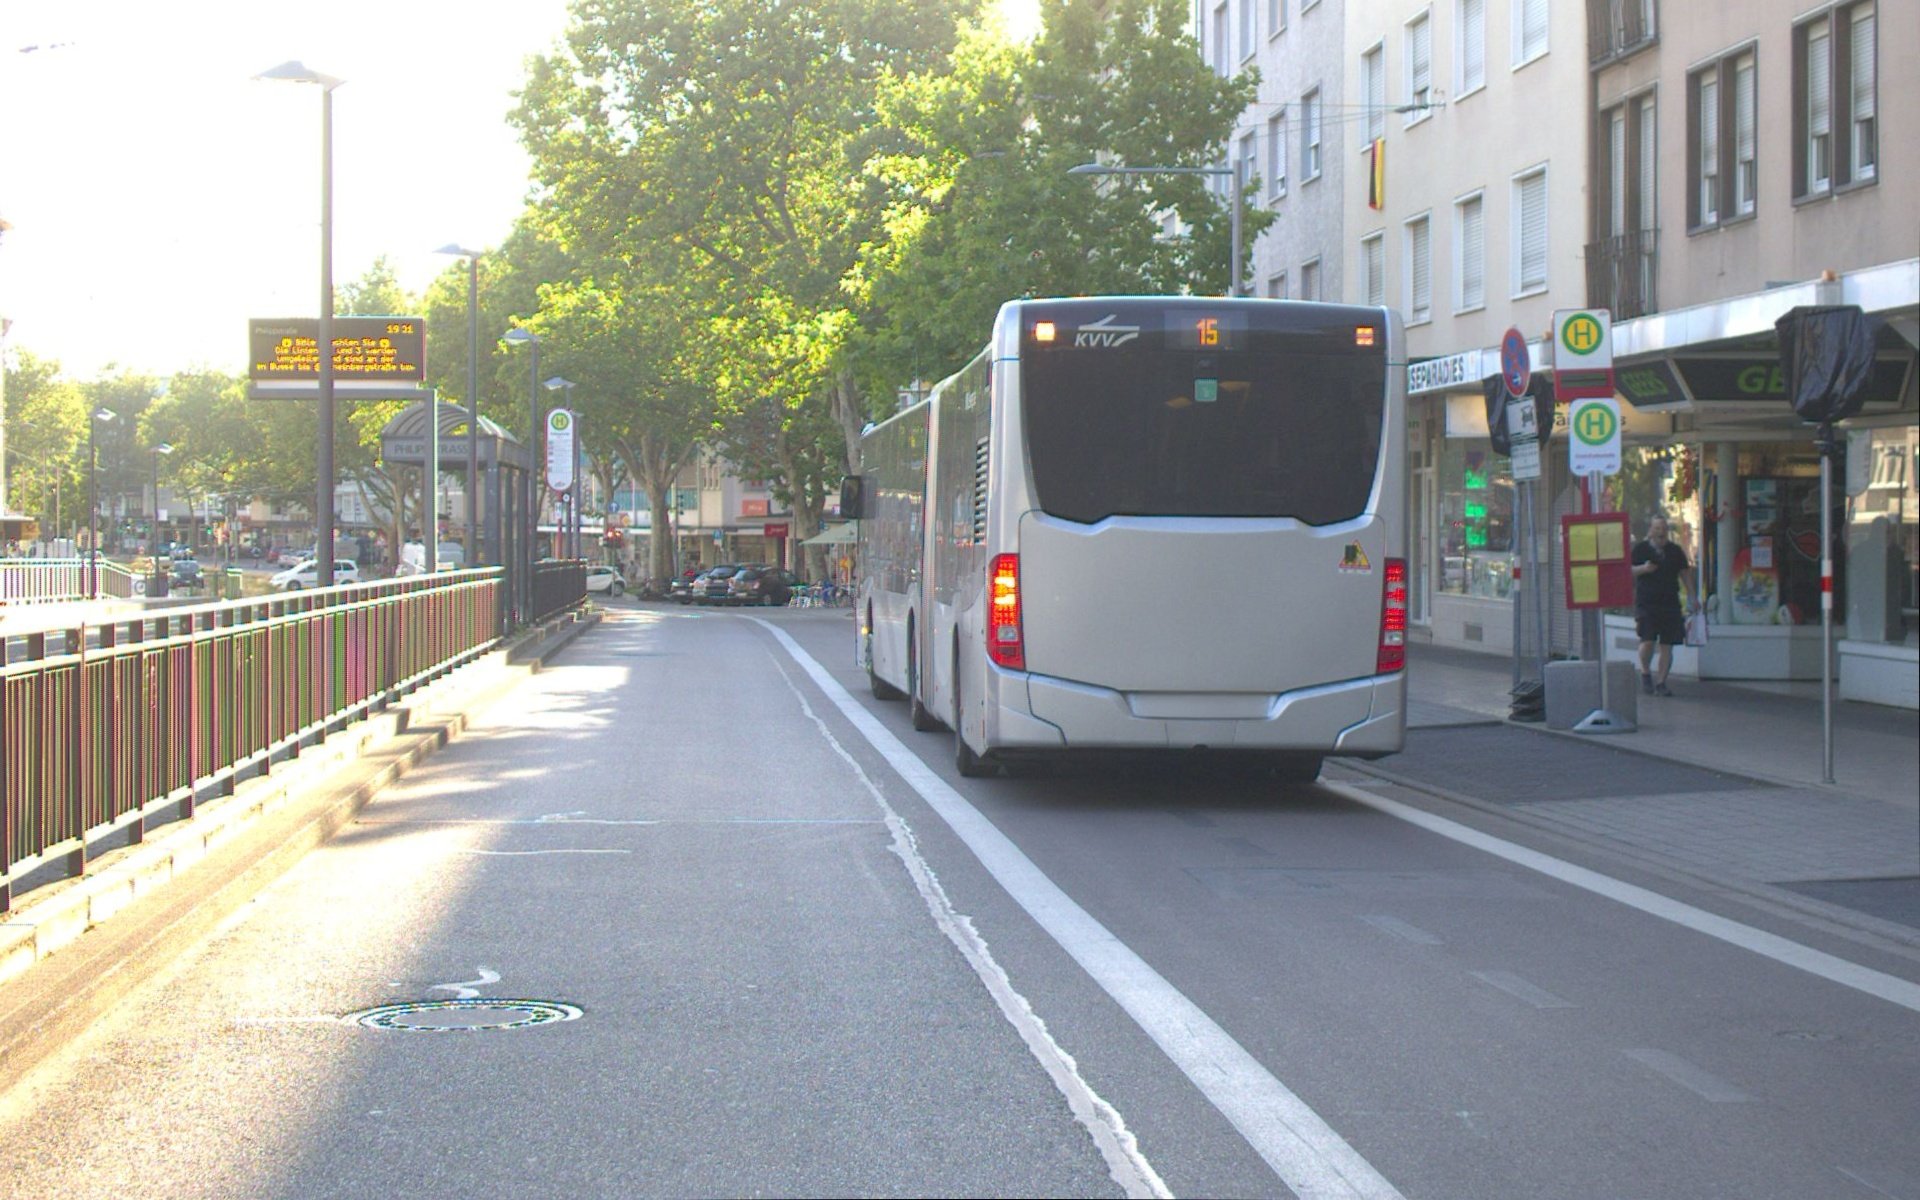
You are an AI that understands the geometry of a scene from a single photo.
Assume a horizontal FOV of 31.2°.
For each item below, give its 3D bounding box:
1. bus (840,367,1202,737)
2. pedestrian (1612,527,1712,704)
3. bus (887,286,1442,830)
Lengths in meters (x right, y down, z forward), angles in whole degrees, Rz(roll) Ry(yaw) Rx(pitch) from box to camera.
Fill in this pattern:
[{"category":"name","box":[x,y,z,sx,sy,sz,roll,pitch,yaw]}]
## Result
[{"category":"bus","box":[0.366,-0.482,33.809,2.696,3.107,9.071,1,1,-4]},{"category":"pedestrian","box":[6.519,0.137,31.966,0.723,1.627,0.766,0,1,-4]},{"category":"bus","box":[1.093,-0.319,24.631,2.696,3.107,9.383,1,1,-4]}]
